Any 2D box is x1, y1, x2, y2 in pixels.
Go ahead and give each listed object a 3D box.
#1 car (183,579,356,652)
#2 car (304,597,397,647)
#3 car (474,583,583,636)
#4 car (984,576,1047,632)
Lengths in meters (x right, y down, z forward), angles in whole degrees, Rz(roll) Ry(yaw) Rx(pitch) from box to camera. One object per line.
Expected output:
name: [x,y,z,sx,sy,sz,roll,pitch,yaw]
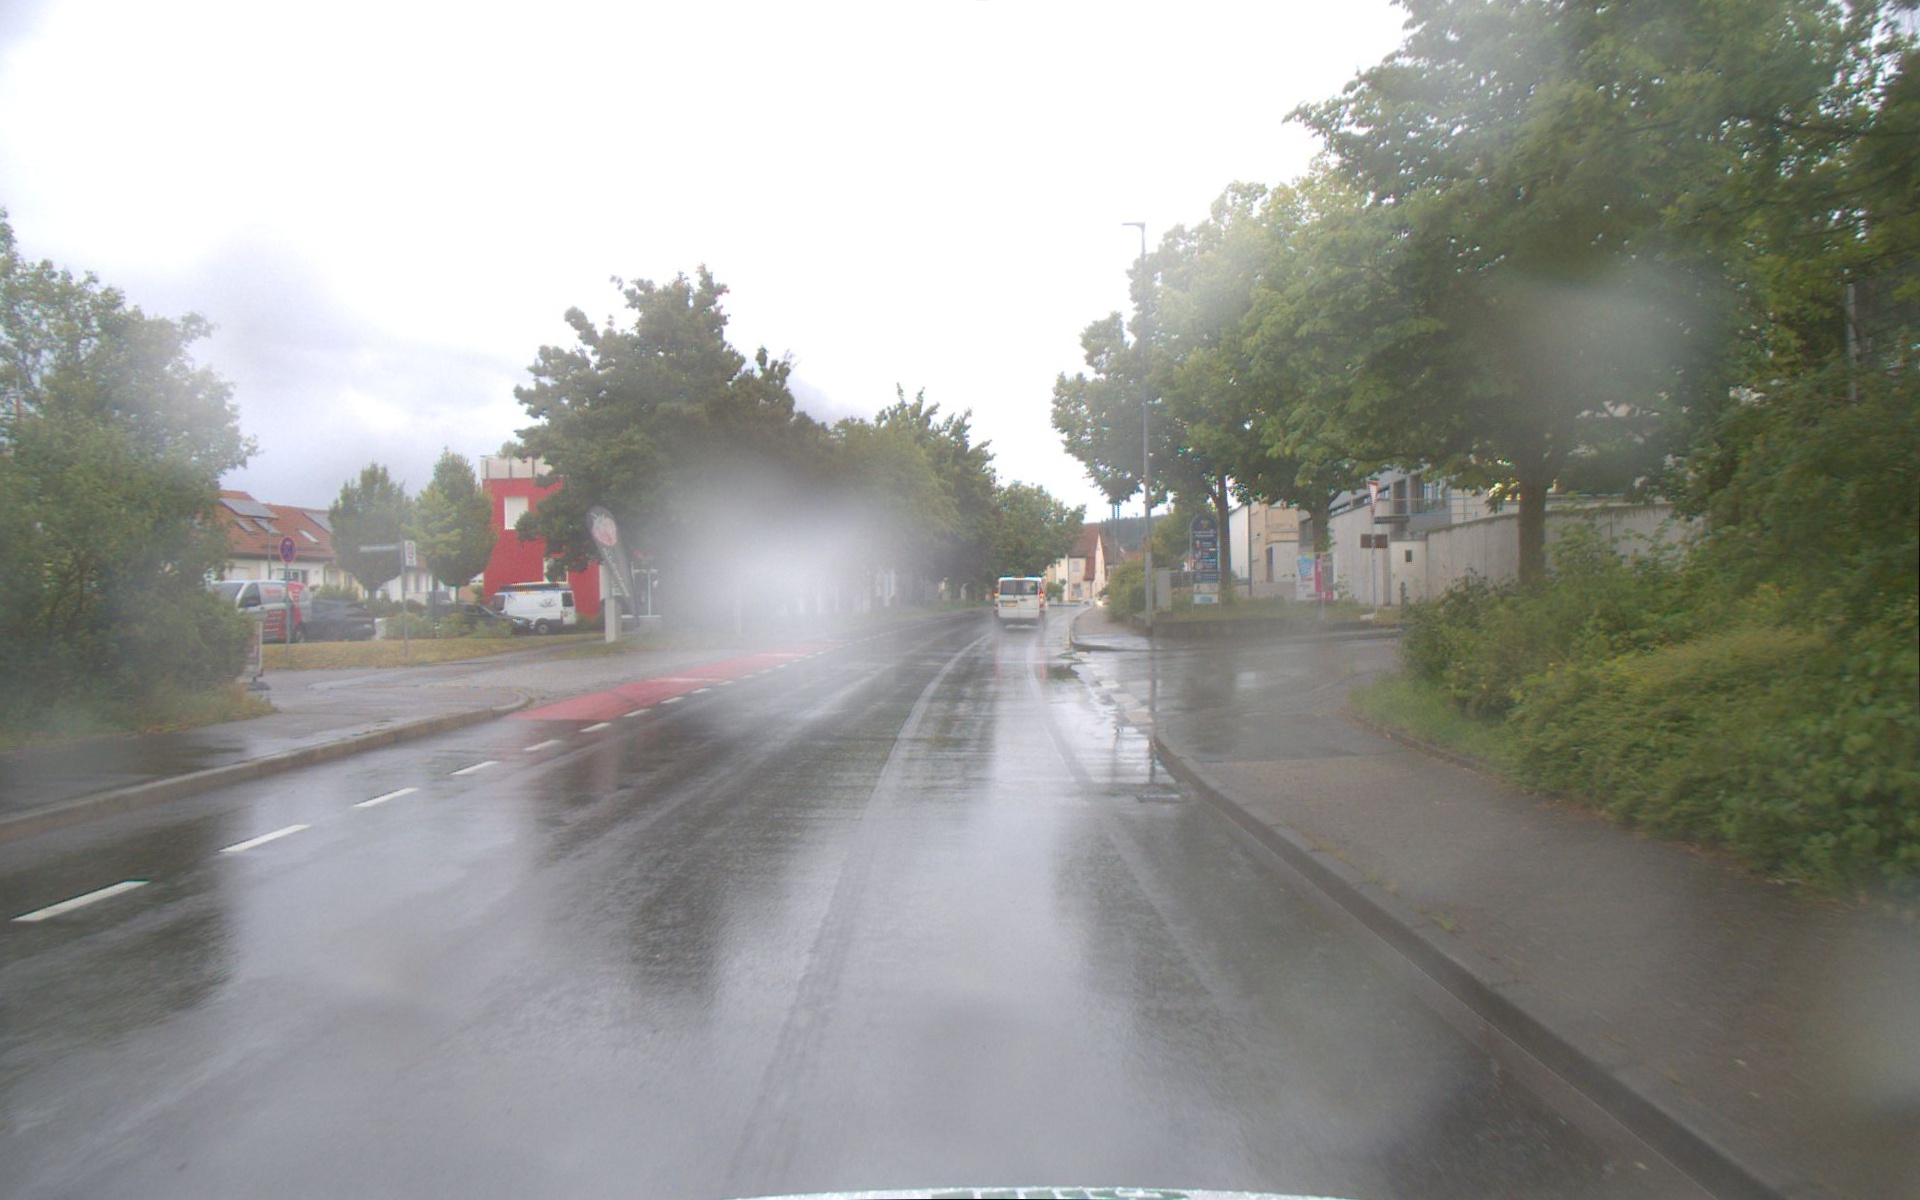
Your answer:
car: [-19.037,0.376,45.931,1.990,1.854,5.613,0,1,6]
car: [-21.065,0.719,57.302,2.074,1.583,4.161,0,1,-7]
car: [-19.956,0.418,76.598,4.382,2.350,2.187,0,1,7]
car: [1.977,0.118,60.033,2.074,1.921,4.502,0,1,-1]
